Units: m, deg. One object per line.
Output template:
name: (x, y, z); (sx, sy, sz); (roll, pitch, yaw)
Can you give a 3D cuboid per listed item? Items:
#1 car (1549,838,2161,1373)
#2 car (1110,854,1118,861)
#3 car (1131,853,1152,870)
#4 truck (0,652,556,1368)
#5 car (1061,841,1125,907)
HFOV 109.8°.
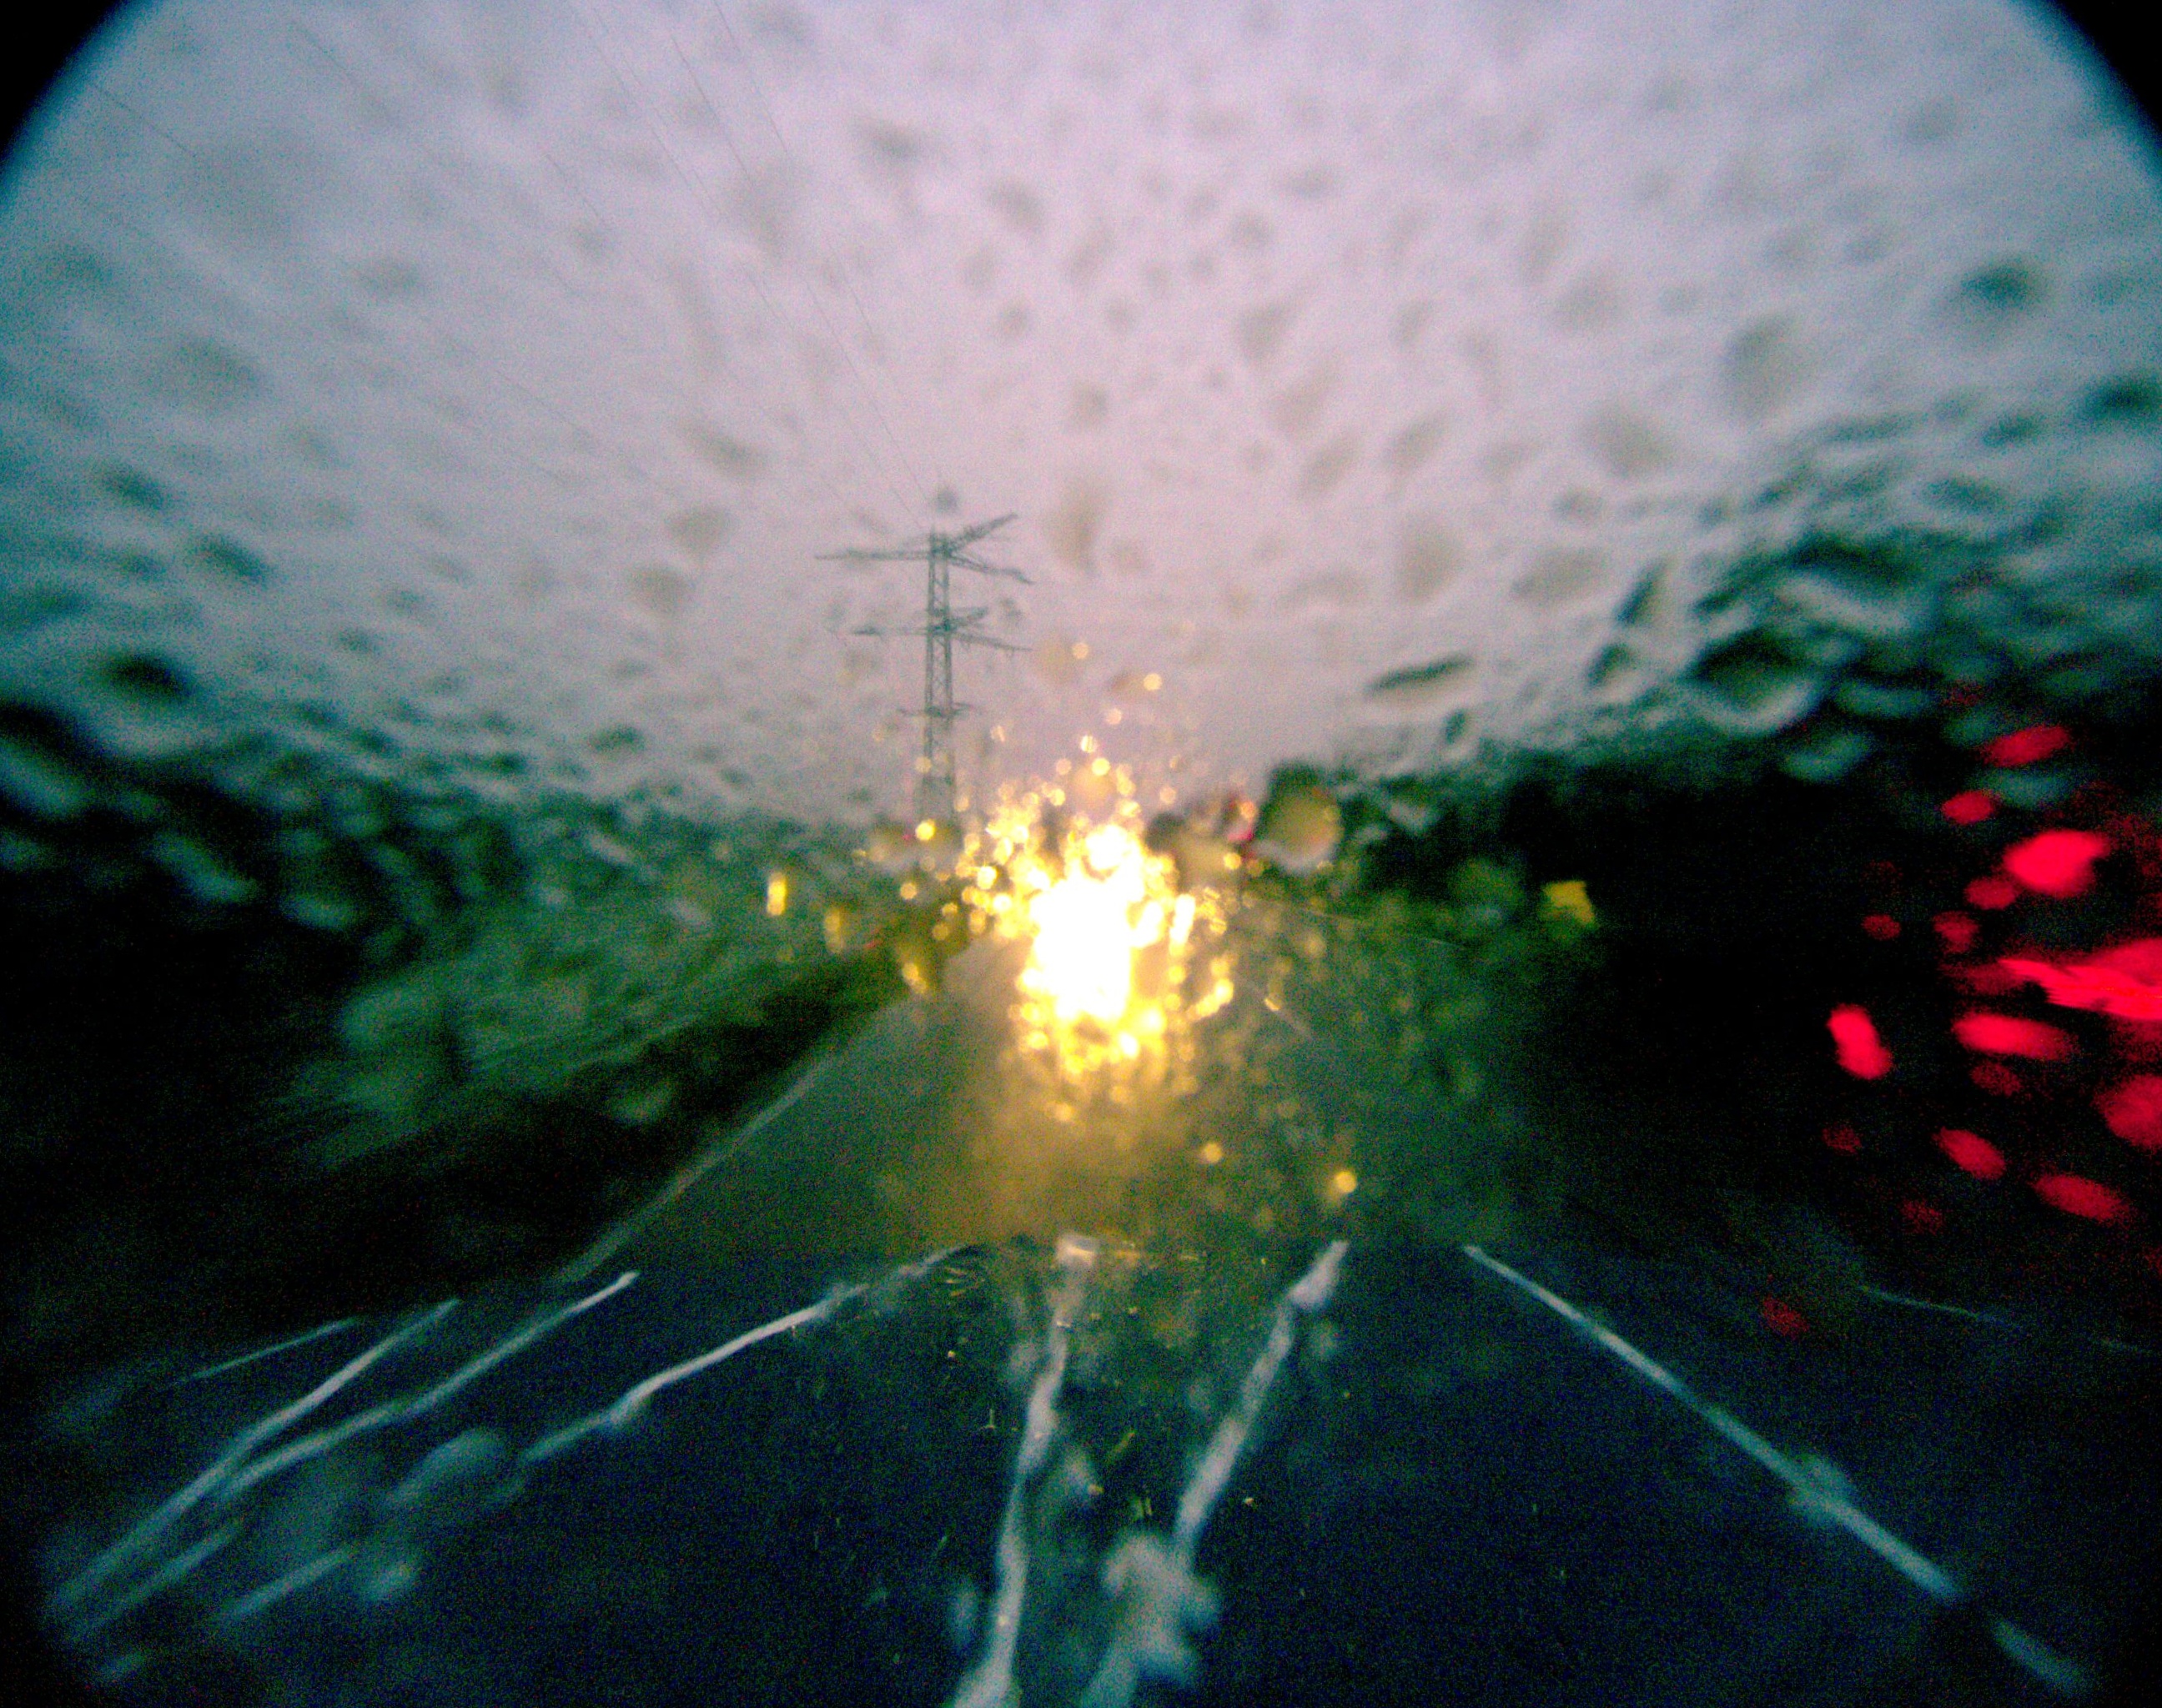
car: (4.140, 0.748, 3.200); (1.773, 1.582, 4.164); (-2, 0, 1)
car: (8.036, 0.733, 184.815); (1.739, 1.604, 4.212); (-2, 0, 2)
car: (5.753, 0.701, 72.987); (1.676, 1.621, 3.976); (-2, 0, 1)
truck: (-5.755, 0.681, 2.468); (2.540, 2.960, 7.856); (-2, 1, 0)
car: (0.312, 0.603, 25.670); (1.857, 2.002, 3.999); (-2, 1, -3)
